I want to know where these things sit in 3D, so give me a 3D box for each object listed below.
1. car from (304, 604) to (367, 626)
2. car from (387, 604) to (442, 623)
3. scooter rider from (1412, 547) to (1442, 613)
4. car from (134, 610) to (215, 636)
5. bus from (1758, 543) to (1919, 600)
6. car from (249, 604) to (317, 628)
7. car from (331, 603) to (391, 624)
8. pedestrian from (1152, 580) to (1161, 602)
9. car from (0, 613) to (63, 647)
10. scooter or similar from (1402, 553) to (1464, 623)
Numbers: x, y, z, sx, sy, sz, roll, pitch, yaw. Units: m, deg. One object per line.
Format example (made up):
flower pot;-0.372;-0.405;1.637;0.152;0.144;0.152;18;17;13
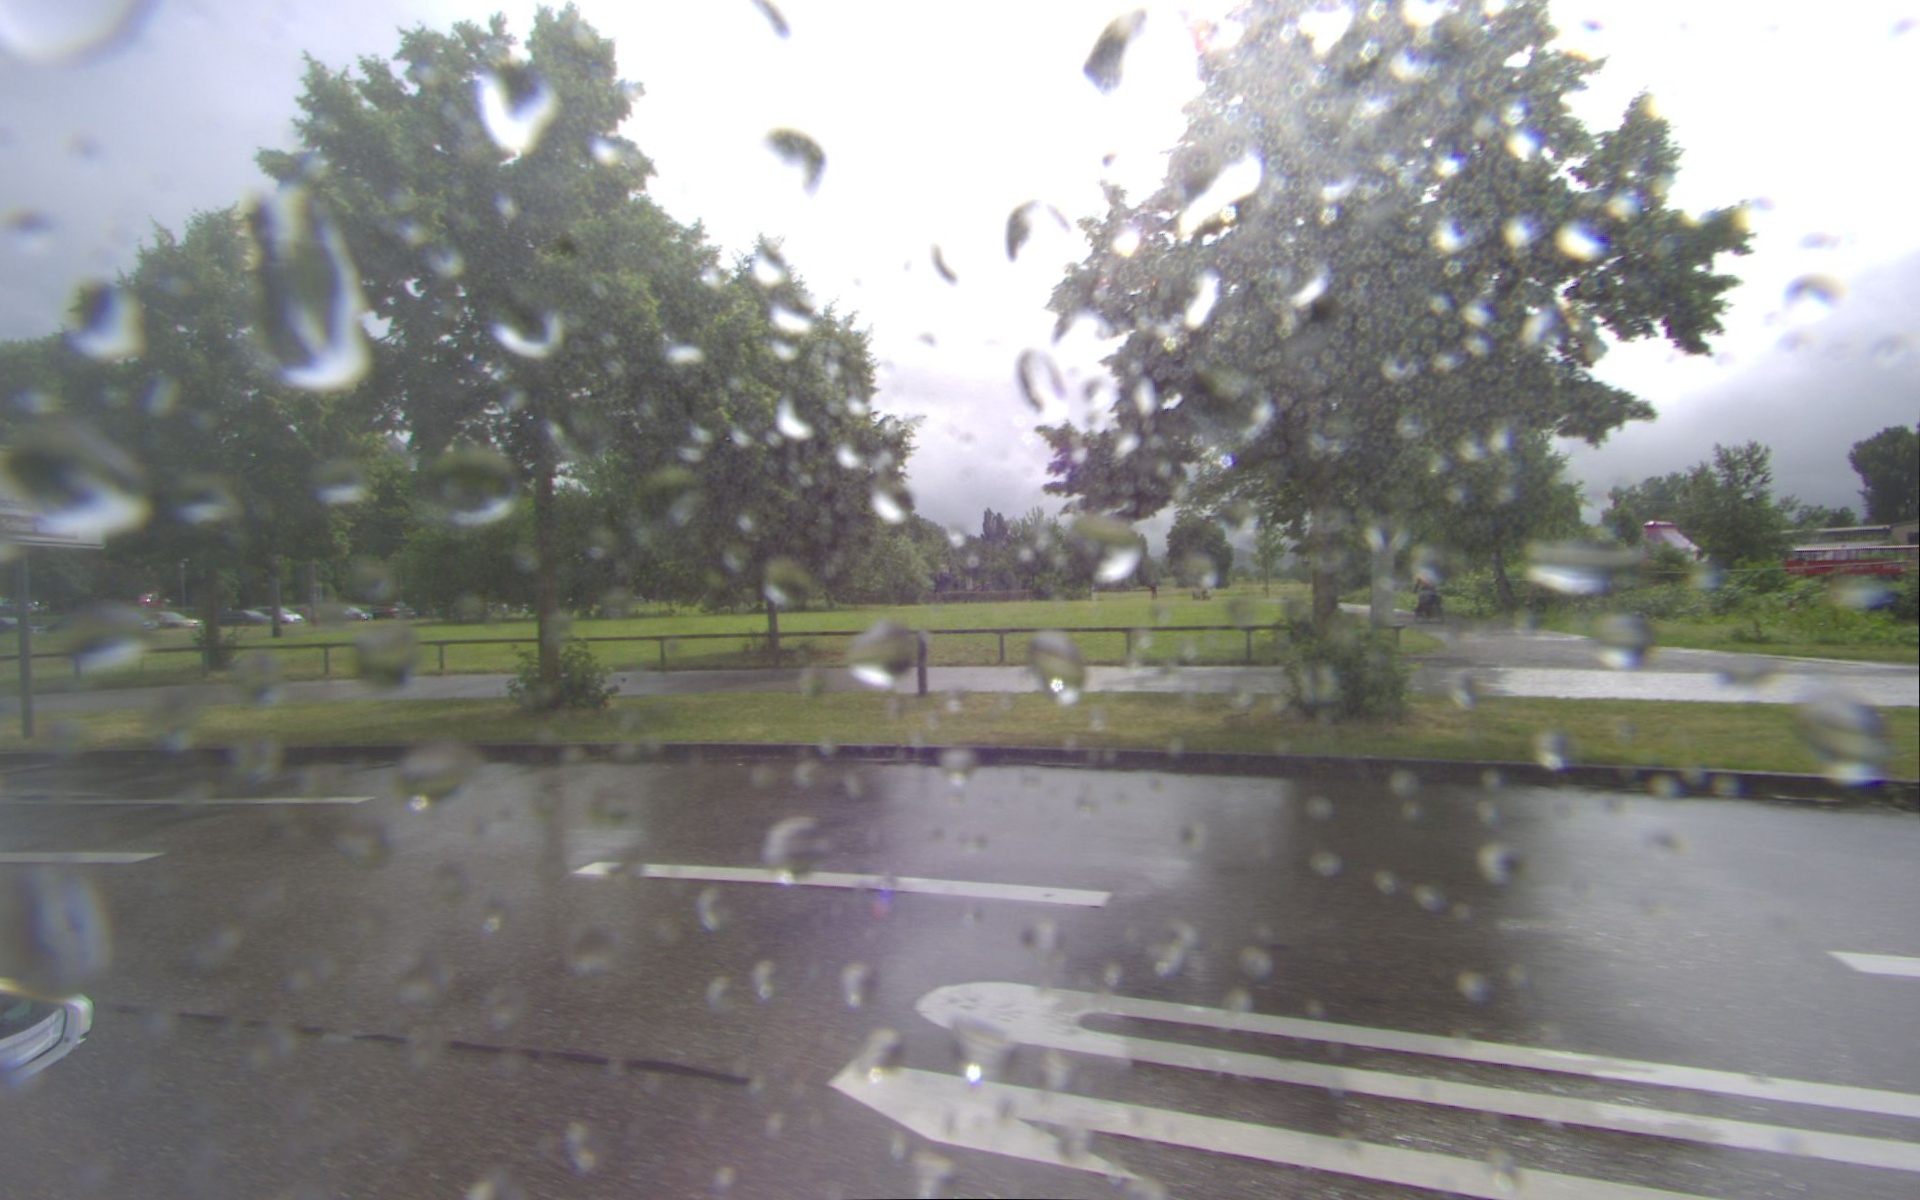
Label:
car;-49.298;1.177;79.091;3.902;1.580;1.849;-1;1;6
car;-48.616;1.191;89.232;3.902;1.580;1.849;-1;1;6
scooter rider;14.759;-0.608;31.689;0.693;2.040;0.770;0;0;12
car;-50.793;1.478;64.796;3.902;1.580;1.849;-1;1;6
bus;62.542;-1.912;69.738;1.972;3.505;10.928;0;-1;-31
car;-50.795;1.193;75.199;3.902;1.580;1.849;-1;1;6
car;-49.364;1.117;82.529;3.902;1.580;1.849;-1;1;6
pedestrian;15.598;-0.723;79.469;0.593;1.754;0.599;0;0;1
car;-51.904;1.641;54.840;3.923;1.738;1.999;-1;1;7
scooter or similar;14.576;-0.314;30.983;1.217;2.040;3.404;0;-1;17
